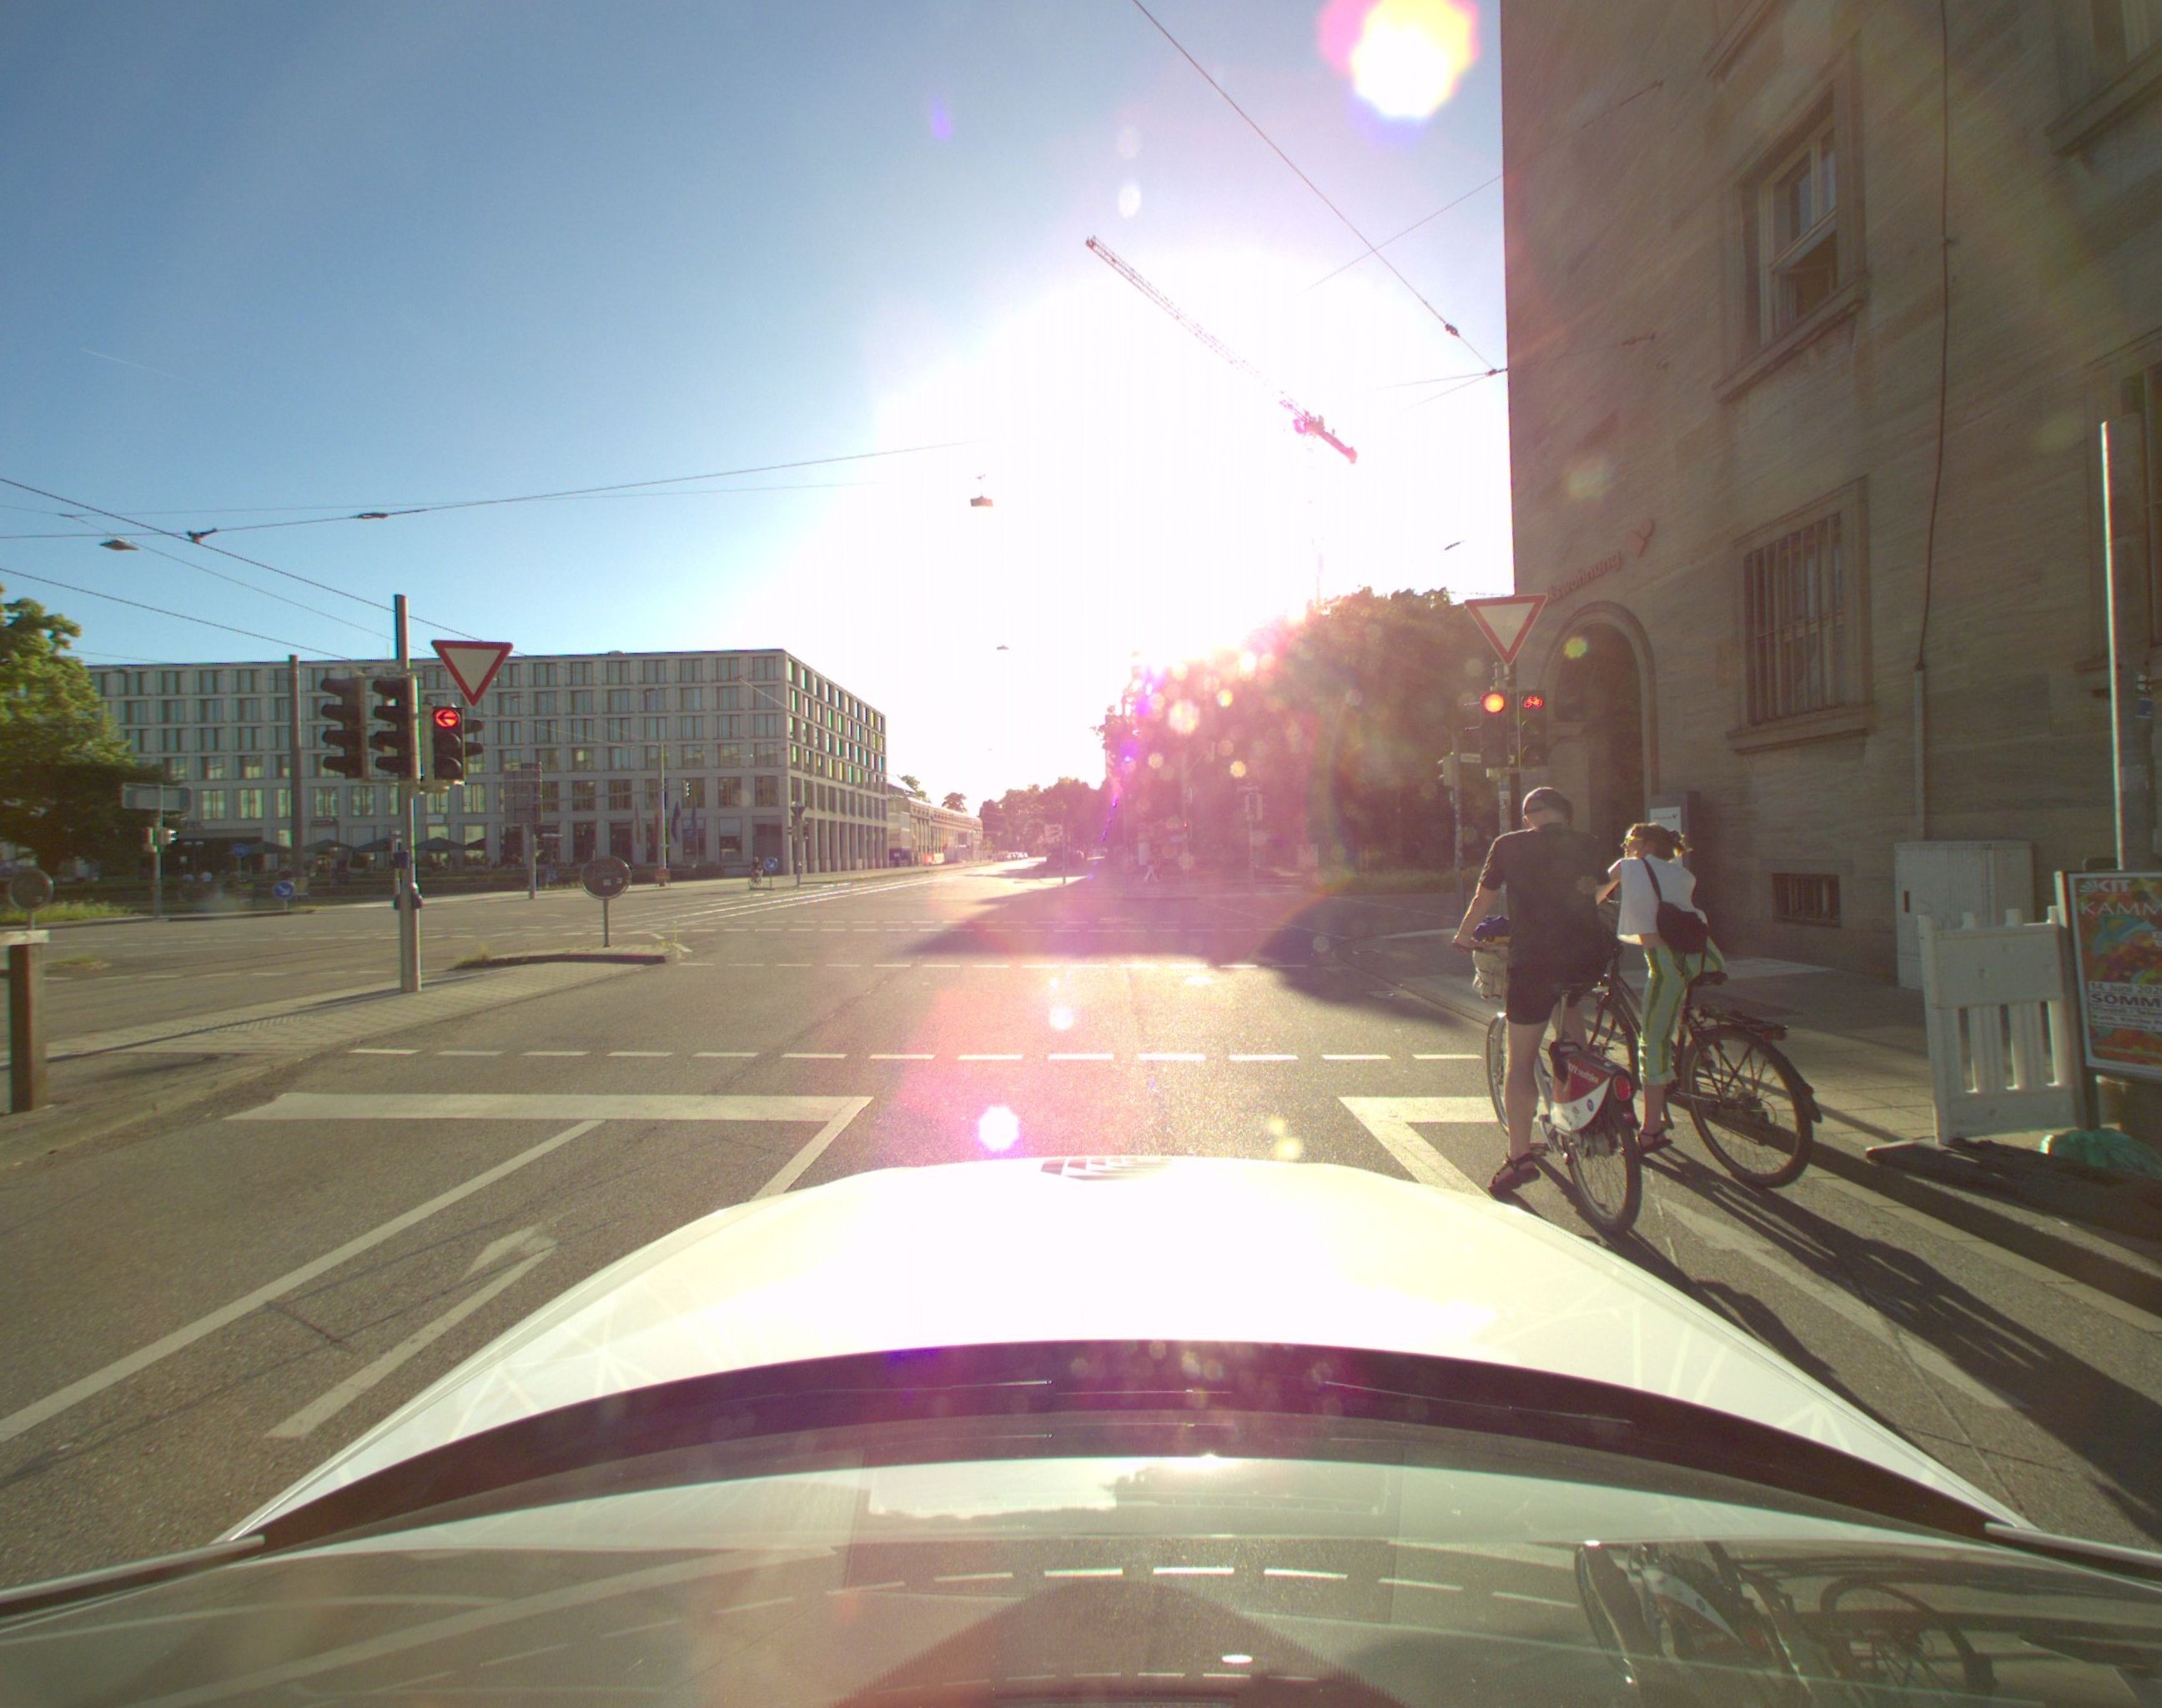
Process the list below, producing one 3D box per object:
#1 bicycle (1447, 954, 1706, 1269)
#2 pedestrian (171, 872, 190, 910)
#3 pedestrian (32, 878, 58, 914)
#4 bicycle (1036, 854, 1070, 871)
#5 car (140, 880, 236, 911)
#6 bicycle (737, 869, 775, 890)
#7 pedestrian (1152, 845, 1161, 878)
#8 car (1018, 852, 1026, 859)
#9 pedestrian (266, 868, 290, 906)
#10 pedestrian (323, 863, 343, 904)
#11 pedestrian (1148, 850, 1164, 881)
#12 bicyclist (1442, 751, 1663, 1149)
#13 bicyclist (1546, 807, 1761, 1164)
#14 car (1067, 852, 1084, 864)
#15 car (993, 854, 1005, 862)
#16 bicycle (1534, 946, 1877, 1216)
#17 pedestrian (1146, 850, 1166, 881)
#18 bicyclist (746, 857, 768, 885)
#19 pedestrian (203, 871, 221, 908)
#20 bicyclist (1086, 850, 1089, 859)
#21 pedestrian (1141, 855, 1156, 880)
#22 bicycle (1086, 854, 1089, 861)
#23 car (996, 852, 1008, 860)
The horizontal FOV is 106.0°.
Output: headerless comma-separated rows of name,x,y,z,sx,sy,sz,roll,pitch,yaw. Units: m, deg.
bicycle,2.262,1.067,3.977,0.387,0.905,1.956,-2,0,10
pedestrian,-48.139,1.965,43.530,0.490,2.013,0.493,-2,0,14
pedestrian,-56.016,2.264,44.041,0.557,1.903,0.684,-2,0,10
bicycle,-2.329,0.723,67.371,2.728,1.367,0.633,-1,-1,12
car,-46.899,2.145,42.813,3.182,1.438,1.467,-2,0,-7
bicycle,-19.343,1.491,48.556,0.872,1.121,3.015,-2,0,3
pedestrian,4.149,0.387,44.924,0.358,1.804,0.508,-2,0,14
car,-14.050,0.309,195.247,1.478,1.750,4.002,-2,0,2
pedestrian,-43.957,1.811,44.580,0.648,2.069,0.649,-2,-2,-5
pedestrian,-42.388,1.688,46.165,0.568,2.280,0.532,-2,0,-5
pedestrian,4.071,0.613,44.336,0.792,1.639,0.534,-2,0,4
bicyclist,2.154,0.413,3.810,0.665,1.678,0.659,-2,0,10
bicyclist,2.953,0.623,4.282,0.519,1.679,0.860,-2,0,5
car,-0.580,0.406,89.735,1.814,1.279,3.999,-2,0,0
car,-15.726,0.756,156.501,1.724,1.653,4.002,-2,0,2
bicycle,3.086,1.037,4.296,0.424,0.876,1.953,-2,0,5
pedestrian,3.997,0.606,43.425,0.980,1.587,0.661,-2,-1,3
bicyclist,-19.340,1.029,48.609,0.872,1.641,0.822,-2,0,3
pedestrian,-47.810,1.971,44.806,0.490,2.013,0.493,-2,0,14
bicyclist,0.767,0.094,98.573,0.317,1.127,0.291,-2,0,4
pedestrian,3.600,0.707,43.663,0.749,1.332,0.743,-2,0,2
bicycle,0.803,0.394,98.755,0.323,0.868,1.484,-2,0,2
car,-15.584,0.382,160.739,1.724,1.653,4.002,-2,0,2
